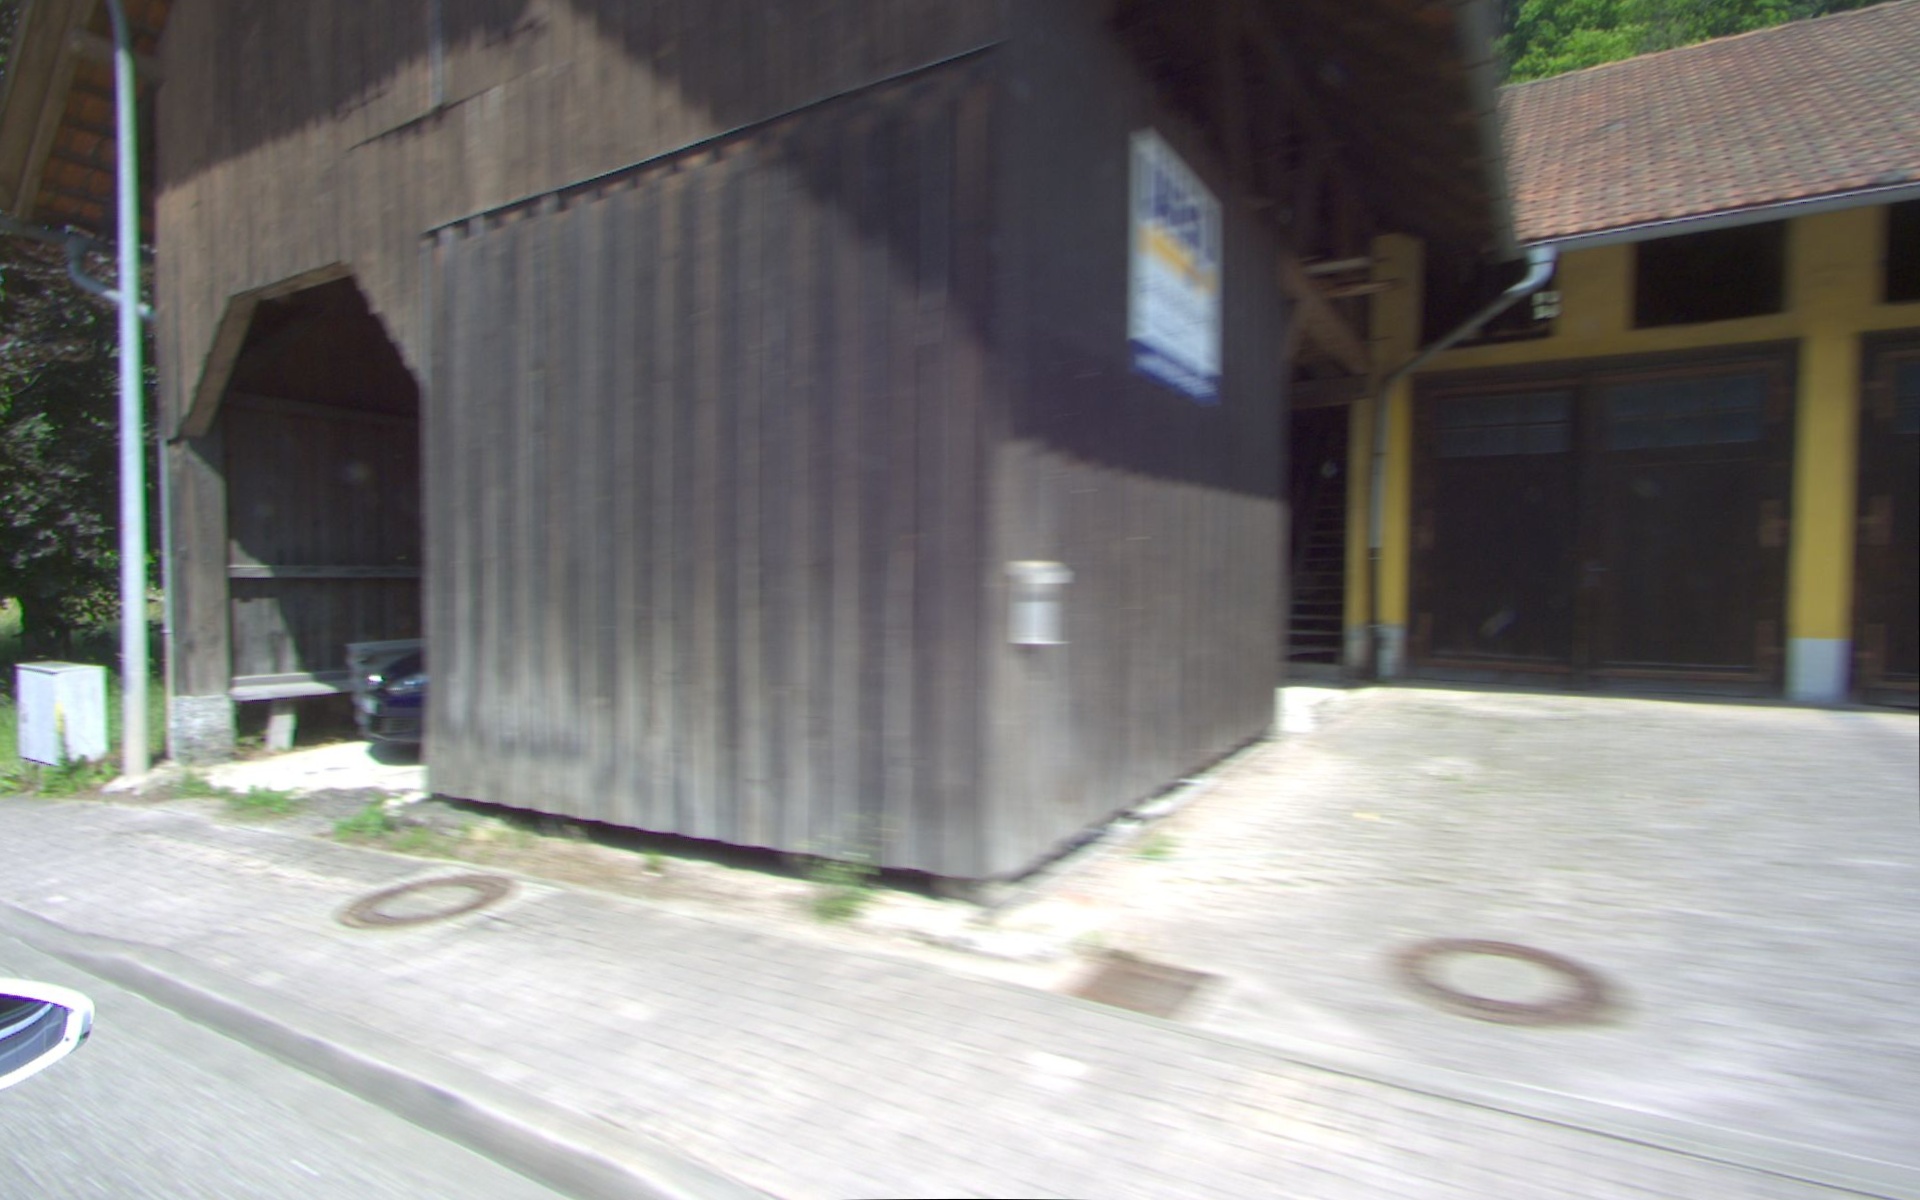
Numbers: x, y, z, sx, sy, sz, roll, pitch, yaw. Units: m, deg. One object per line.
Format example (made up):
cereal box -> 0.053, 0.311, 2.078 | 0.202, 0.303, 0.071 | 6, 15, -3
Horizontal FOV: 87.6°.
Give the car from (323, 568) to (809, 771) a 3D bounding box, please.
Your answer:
car -> -3.644, 0.469, 9.657 | 3.955, 1.529, 1.853 | -2, 3, -41
